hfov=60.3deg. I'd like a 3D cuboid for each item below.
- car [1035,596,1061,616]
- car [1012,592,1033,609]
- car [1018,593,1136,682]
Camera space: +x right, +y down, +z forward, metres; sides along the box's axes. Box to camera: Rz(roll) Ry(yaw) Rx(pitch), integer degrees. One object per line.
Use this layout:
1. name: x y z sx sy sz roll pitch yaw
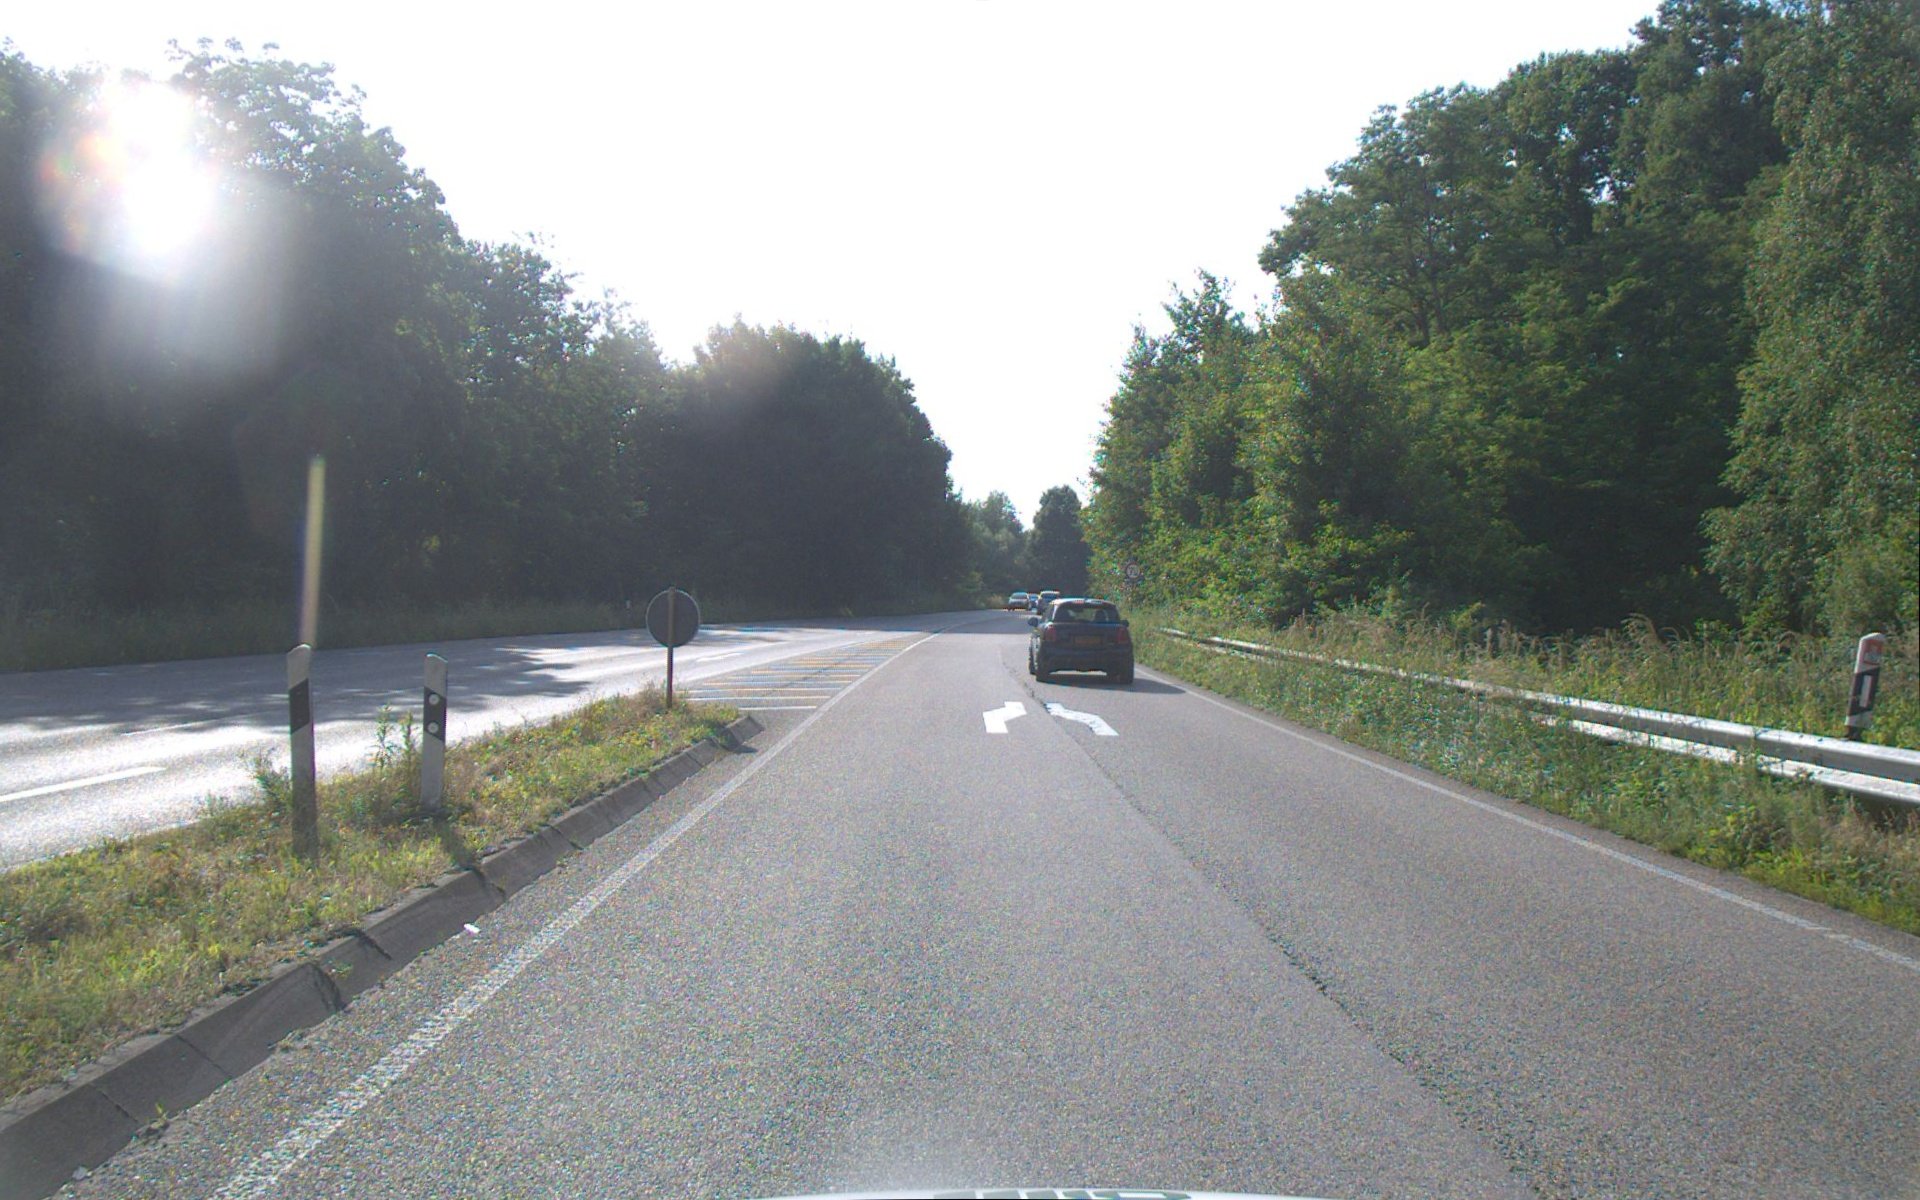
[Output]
1. car: 6.349 0.452 119.448 1.725 1.404 3.971 0 -1 1
2. car: 5.249 0.056 139.978 1.725 1.404 3.972 0 -1 1
3. car: 2.066 0.676 30.151 1.783 1.493 3.871 1 -1 -1
